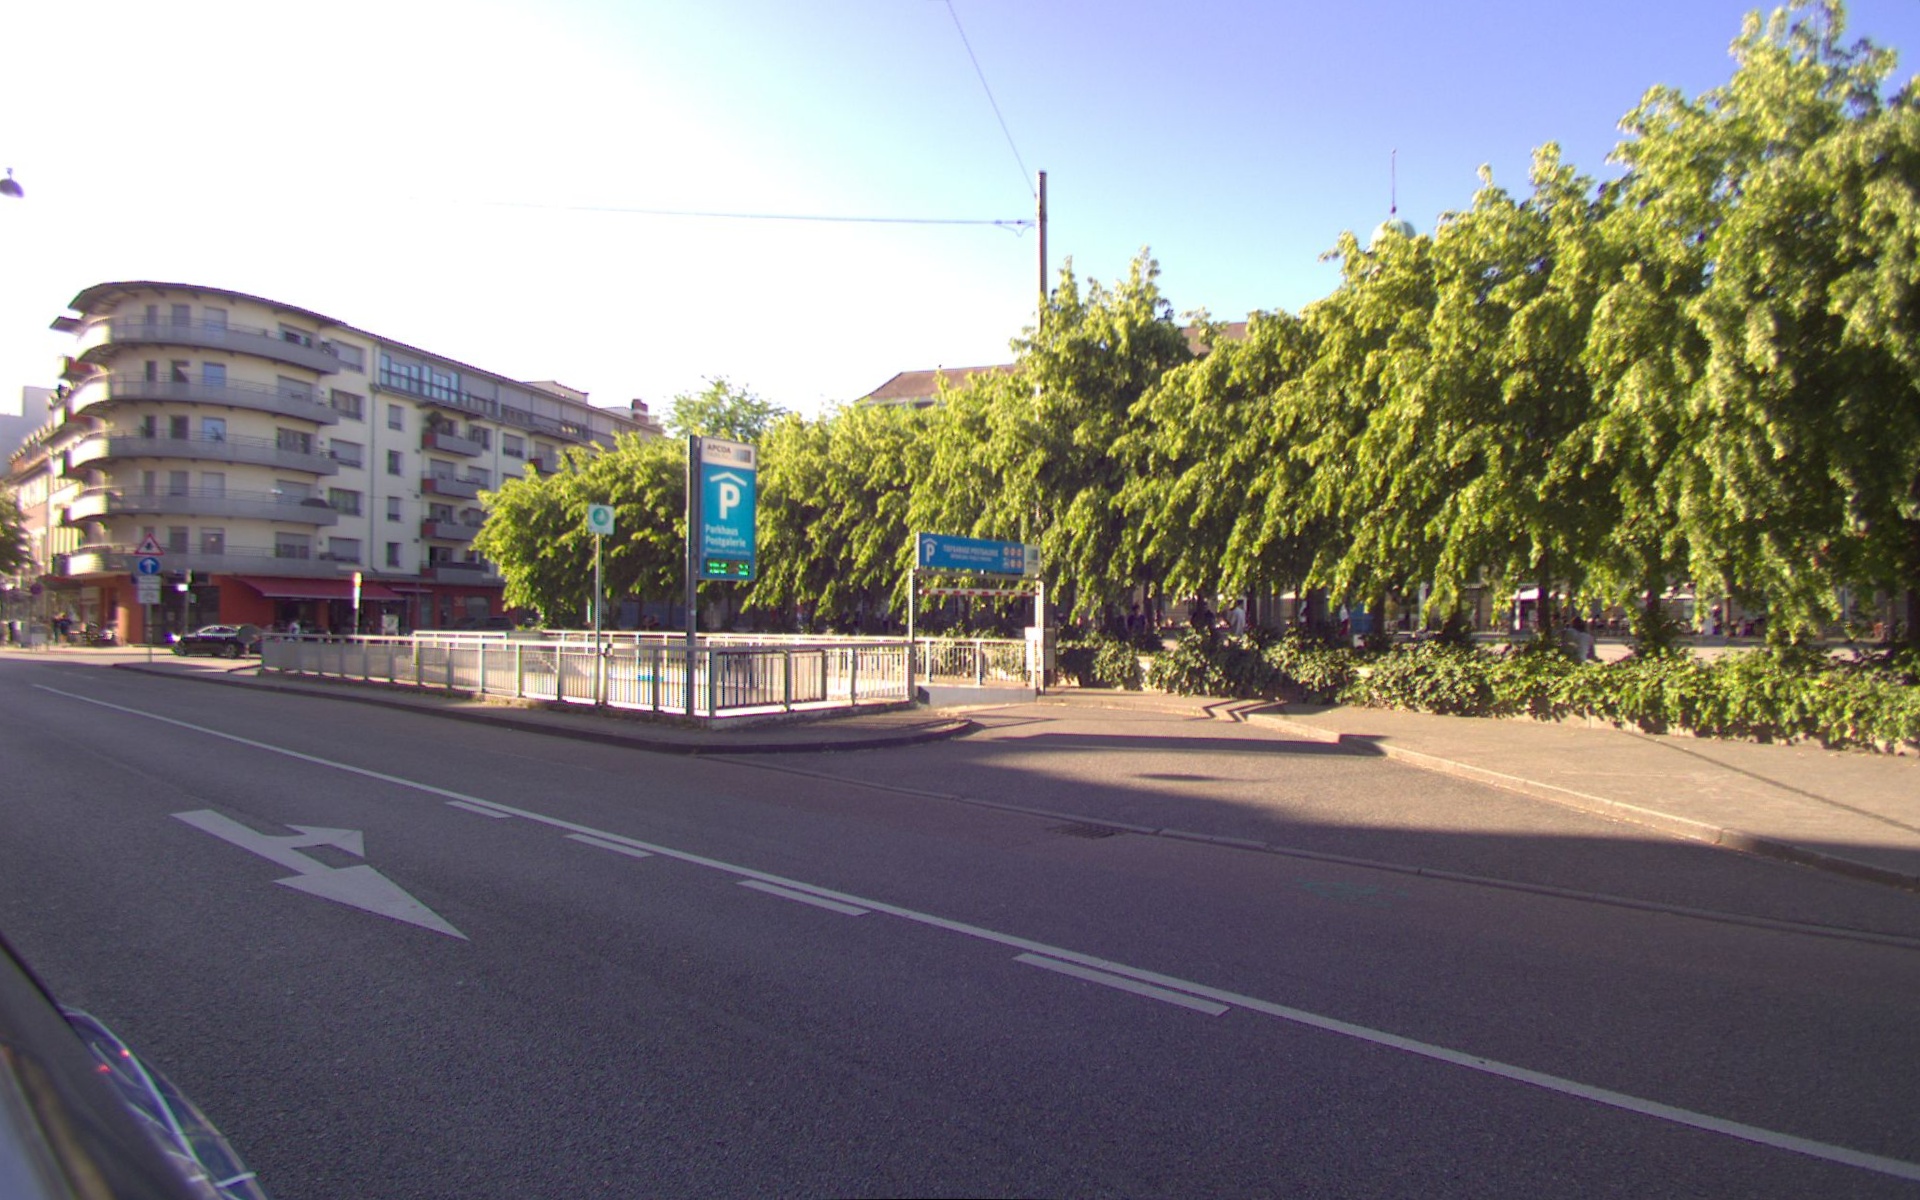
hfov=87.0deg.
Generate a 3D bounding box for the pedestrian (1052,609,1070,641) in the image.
[{"bbox_3d":[4.466,1.115,44.830,0.684,1.385,0.684,-1,0,1],"label":"pedestrian"}]

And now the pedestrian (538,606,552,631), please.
[{"bbox_3d":[-31.144,1.408,75.919,0.684,1.857,0.737,-1,0,41],"label":"pedestrian"}]

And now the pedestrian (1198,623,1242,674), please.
[{"bbox_3d":[5.747,1.068,22.388,0.682,1.079,0.686,-1,0,-13],"label":"pedestrian"}]

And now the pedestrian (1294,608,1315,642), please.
[{"bbox_3d":[15.843,1.125,46.572,0.673,1.535,0.695,-1,0,-7],"label":"pedestrian"}]

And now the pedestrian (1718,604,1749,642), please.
[{"bbox_3d":[31.383,0.929,41.064,0.728,1.542,0.695,-1,0,-11],"label":"pedestrian"}]

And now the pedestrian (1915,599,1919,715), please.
[{"bbox_3d":[12.903,0.755,13.046,0.691,1.532,0.677,-1,0,30],"label":"pedestrian"}]

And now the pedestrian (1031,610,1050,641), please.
[{"bbox_3d":[3.571,1.126,44.867,0.752,1.385,0.684,-1,0,1],"label":"pedestrian"}]

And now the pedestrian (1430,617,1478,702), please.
[{"bbox_3d":[8.742,1.031,17.911,0.621,1.447,0.645,-1,0,39],"label":"pedestrian"}]

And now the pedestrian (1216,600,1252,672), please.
[{"bbox_3d":[6.245,0.810,23.063,0.518,1.594,0.686,-1,0,-11],"label":"pedestrian"}]

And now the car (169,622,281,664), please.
[{"bbox_3d":[-31.112,1.821,42.850,4.217,1.542,1.666,2,-3,20],"label":"car"}]

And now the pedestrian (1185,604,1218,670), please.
[{"bbox_3d":[5.705,0.859,23.881,0.688,1.511,0.680,-1,0,19],"label":"pedestrian"}]

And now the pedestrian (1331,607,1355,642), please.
[{"bbox_3d":[17.114,1.108,45.243,0.672,1.536,0.696,-1,0,-19],"label":"pedestrian"}]

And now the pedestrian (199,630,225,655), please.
[{"bbox_3d":[-37.645,2.144,50.957,0.882,1.207,0.772,-1,0,30],"label":"pedestrian"}]

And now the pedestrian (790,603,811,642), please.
[{"bbox_3d":[-7.863,1.104,49.910,0.681,1.857,0.741,-1,0,27],"label":"pedestrian"}]

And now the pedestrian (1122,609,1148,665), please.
[{"bbox_3d":[4.484,0.937,25.928,0.545,1.385,0.680,-1,0,19],"label":"pedestrian"}]

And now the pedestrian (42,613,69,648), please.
[{"bbox_3d":[-51.234,1.697,57.326,0.790,1.934,0.978,-1,0,37],"label":"pedestrian"}]

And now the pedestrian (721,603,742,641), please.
[{"bbox_3d":[-11.384,1.092,50.437,0.679,1.857,0.743,-1,0,19],"label":"pedestrian"}]

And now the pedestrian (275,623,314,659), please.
[{"bbox_3d":[-33.000,2.028,50.223,1.252,1.678,1.142,-1,0,-10],"label":"pedestrian"}]

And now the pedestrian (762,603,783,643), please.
[{"bbox_3d":[-9.049,1.110,48.934,0.681,1.877,0.741,-1,0,27],"label":"pedestrian"}]

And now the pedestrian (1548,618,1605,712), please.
[{"bbox_3d":[9.798,1.017,16.102,0.611,1.447,0.588,-1,0,14],"label":"pedestrian"}]

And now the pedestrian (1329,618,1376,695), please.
[{"bbox_3d":[7.516,1.066,19.358,0.622,1.409,0.644,-1,0,44],"label":"pedestrian"}]

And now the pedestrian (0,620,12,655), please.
[{"bbox_3d":[-49.266,1.926,51.827,1.053,1.732,1.082,-1,0,-43],"label":"pedestrian"}]

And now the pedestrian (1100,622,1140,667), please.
[{"bbox_3d":[3.967,1.097,25.093,0.682,1.079,0.686,-1,0,-29],"label":"pedestrian"}]

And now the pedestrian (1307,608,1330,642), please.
[{"bbox_3d":[16.221,1.120,45.826,0.672,1.542,0.696,-1,0,-18],"label":"pedestrian"}]
